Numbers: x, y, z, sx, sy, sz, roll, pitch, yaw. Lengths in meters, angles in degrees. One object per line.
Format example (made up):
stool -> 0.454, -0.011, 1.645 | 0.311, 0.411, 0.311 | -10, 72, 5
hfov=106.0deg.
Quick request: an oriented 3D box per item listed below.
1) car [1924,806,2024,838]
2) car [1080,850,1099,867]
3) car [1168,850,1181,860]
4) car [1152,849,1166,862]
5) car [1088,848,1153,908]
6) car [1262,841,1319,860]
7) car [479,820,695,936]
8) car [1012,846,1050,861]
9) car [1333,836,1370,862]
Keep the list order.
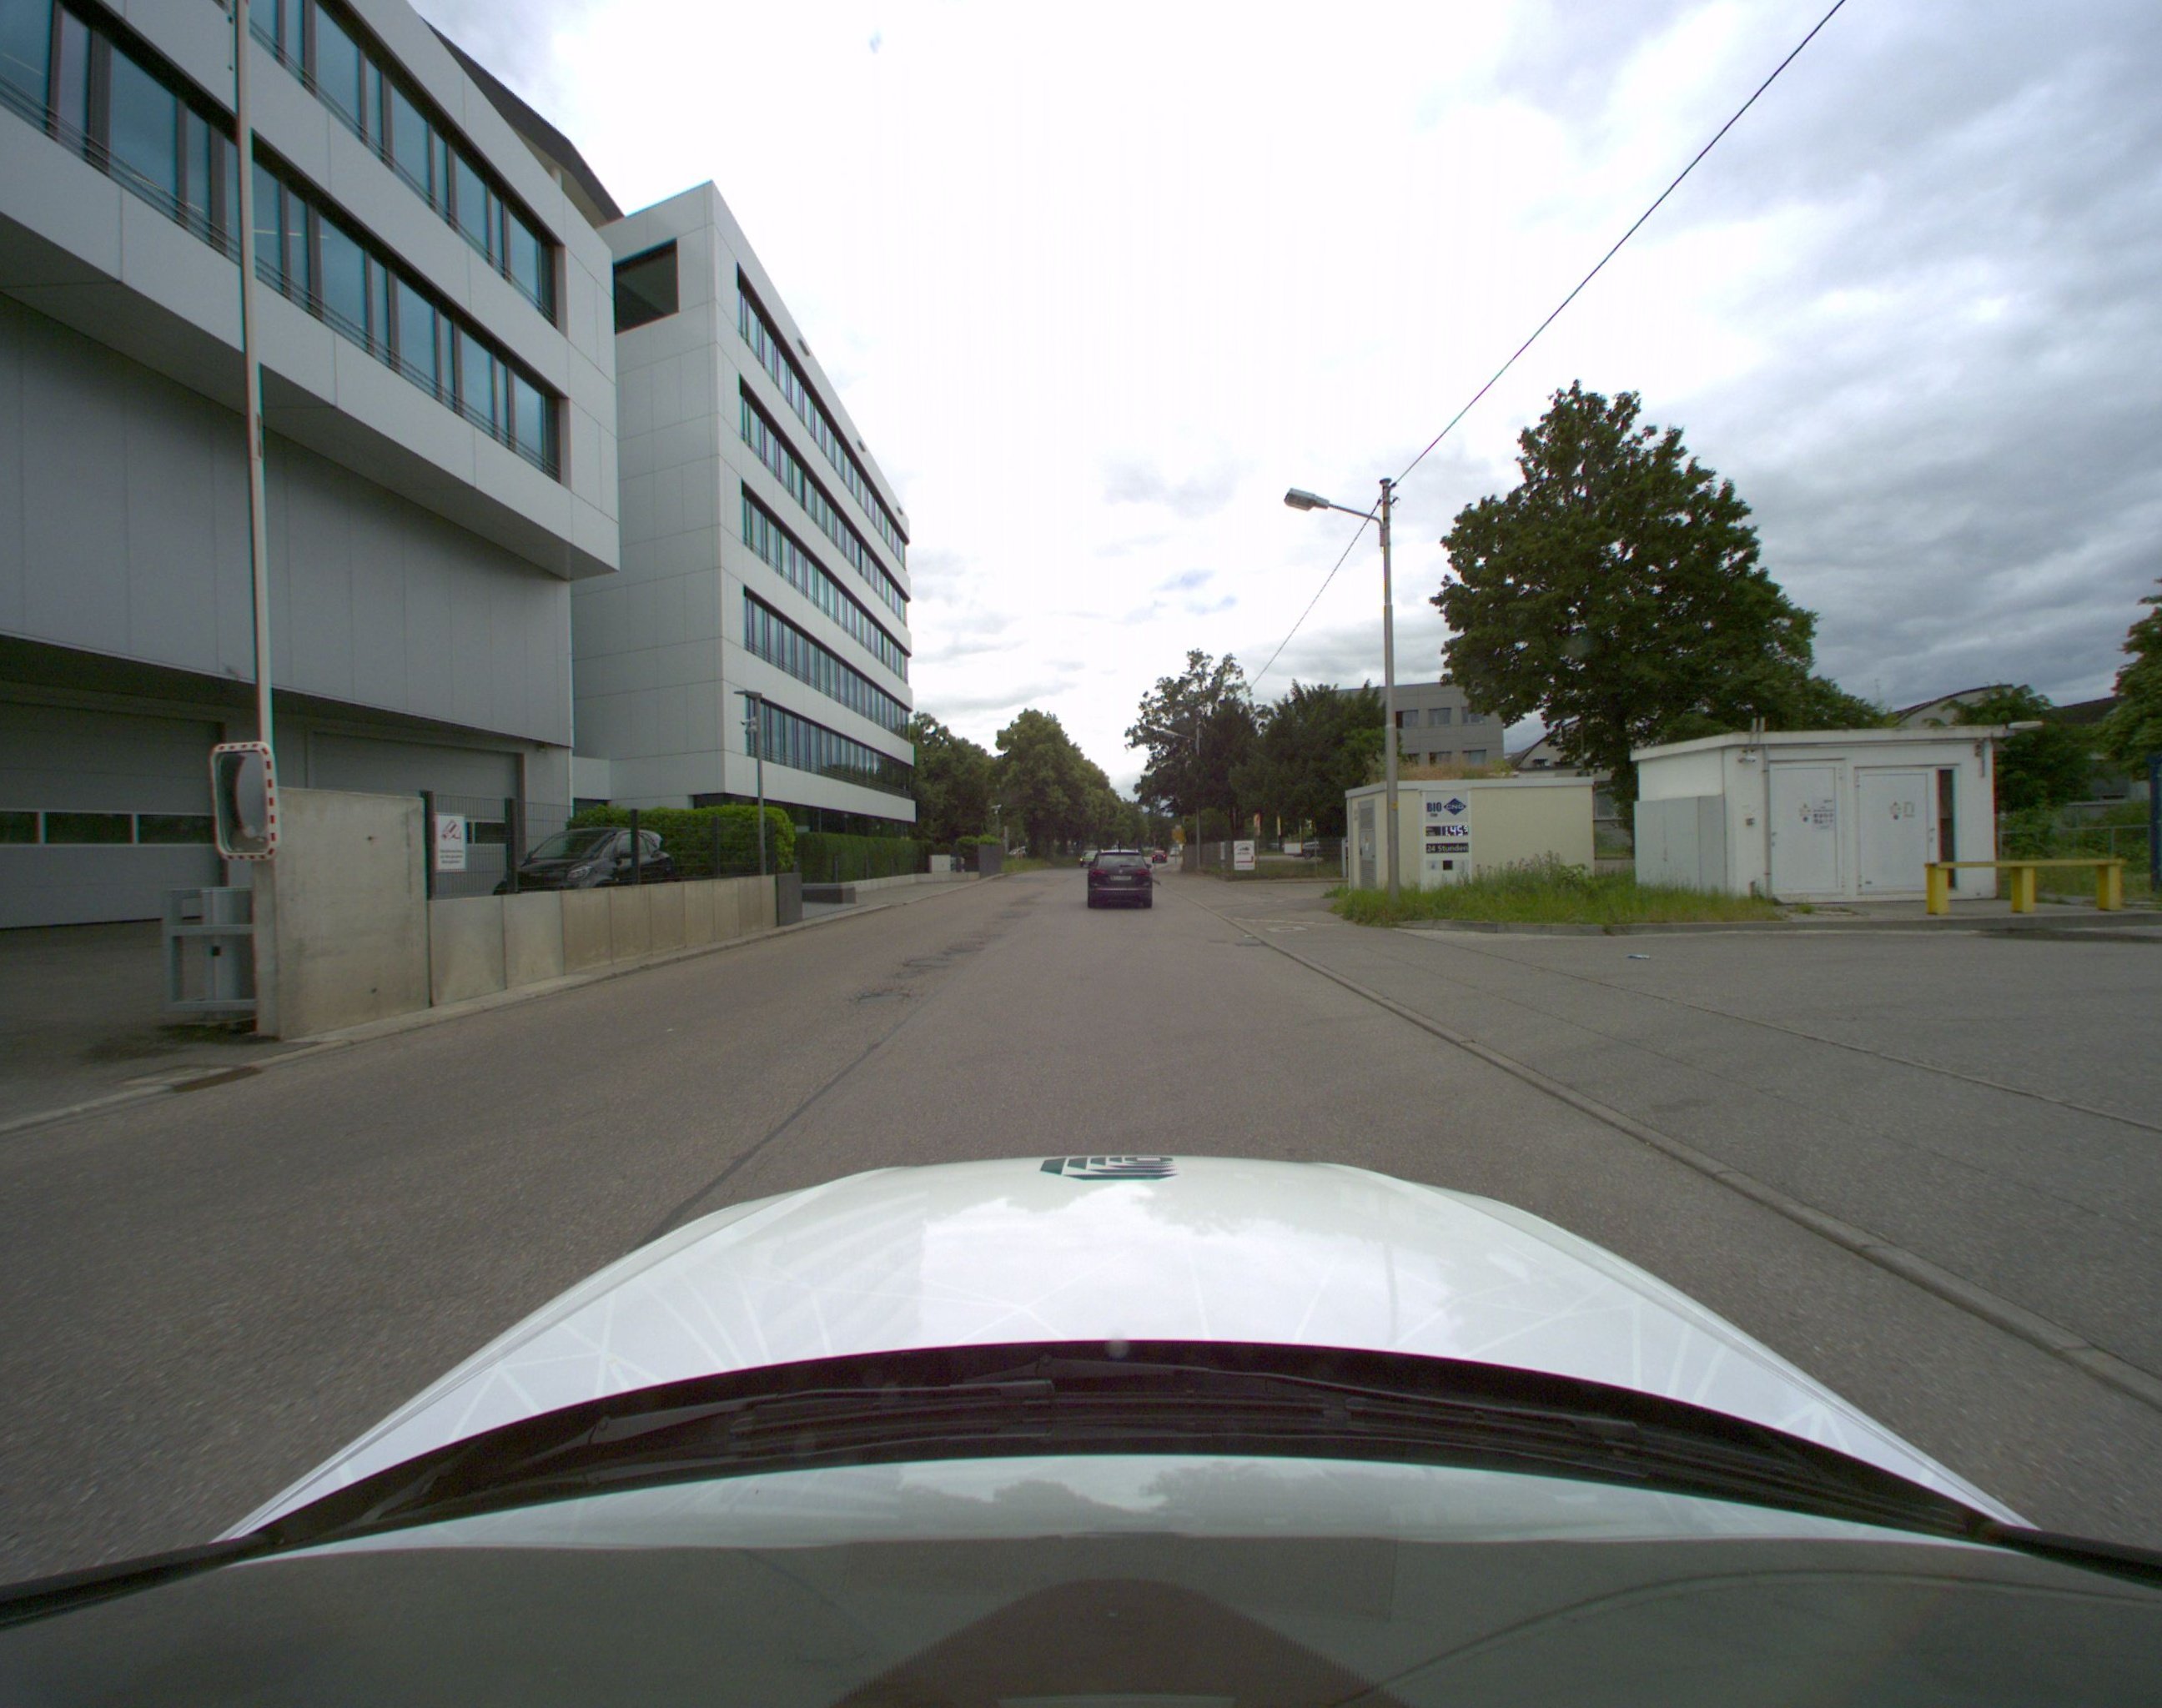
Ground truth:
car -> 47.159, -1.678, 43.144 | 1.888, 1.520, 4.085 | -2, 1, 20
car -> 0.932, 0.501, 87.315 | 1.799, 1.764, 4.211 | 0, 0, 5
car -> 16.604, 0.160, 144.200 | 1.980, 1.786, 4.013 | 0, 0, 12
car -> 9.869, 0.165, 102.794 | 1.651, 1.574, 3.834 | -2, 0, 5
car -> 1.167, 0.656, 23.652 | 1.731, 1.618, 3.644 | 0, -1, 3
car -> 18.887, -0.297, 73.564 | 2.010, 1.474, 4.638 | -2, -1, -40
car -> -8.269, 0.353, 13.963 | 1.644, 1.762, 3.181 | 0, 0, 3
car -> -8.536, -0.037, 139.111 | 6.044, 2.387, 2.397 | -2, 0, 3
car -> 18.595, -0.398, 56.121 | 1.979, 1.567, 4.459 | -4, 0, 15
